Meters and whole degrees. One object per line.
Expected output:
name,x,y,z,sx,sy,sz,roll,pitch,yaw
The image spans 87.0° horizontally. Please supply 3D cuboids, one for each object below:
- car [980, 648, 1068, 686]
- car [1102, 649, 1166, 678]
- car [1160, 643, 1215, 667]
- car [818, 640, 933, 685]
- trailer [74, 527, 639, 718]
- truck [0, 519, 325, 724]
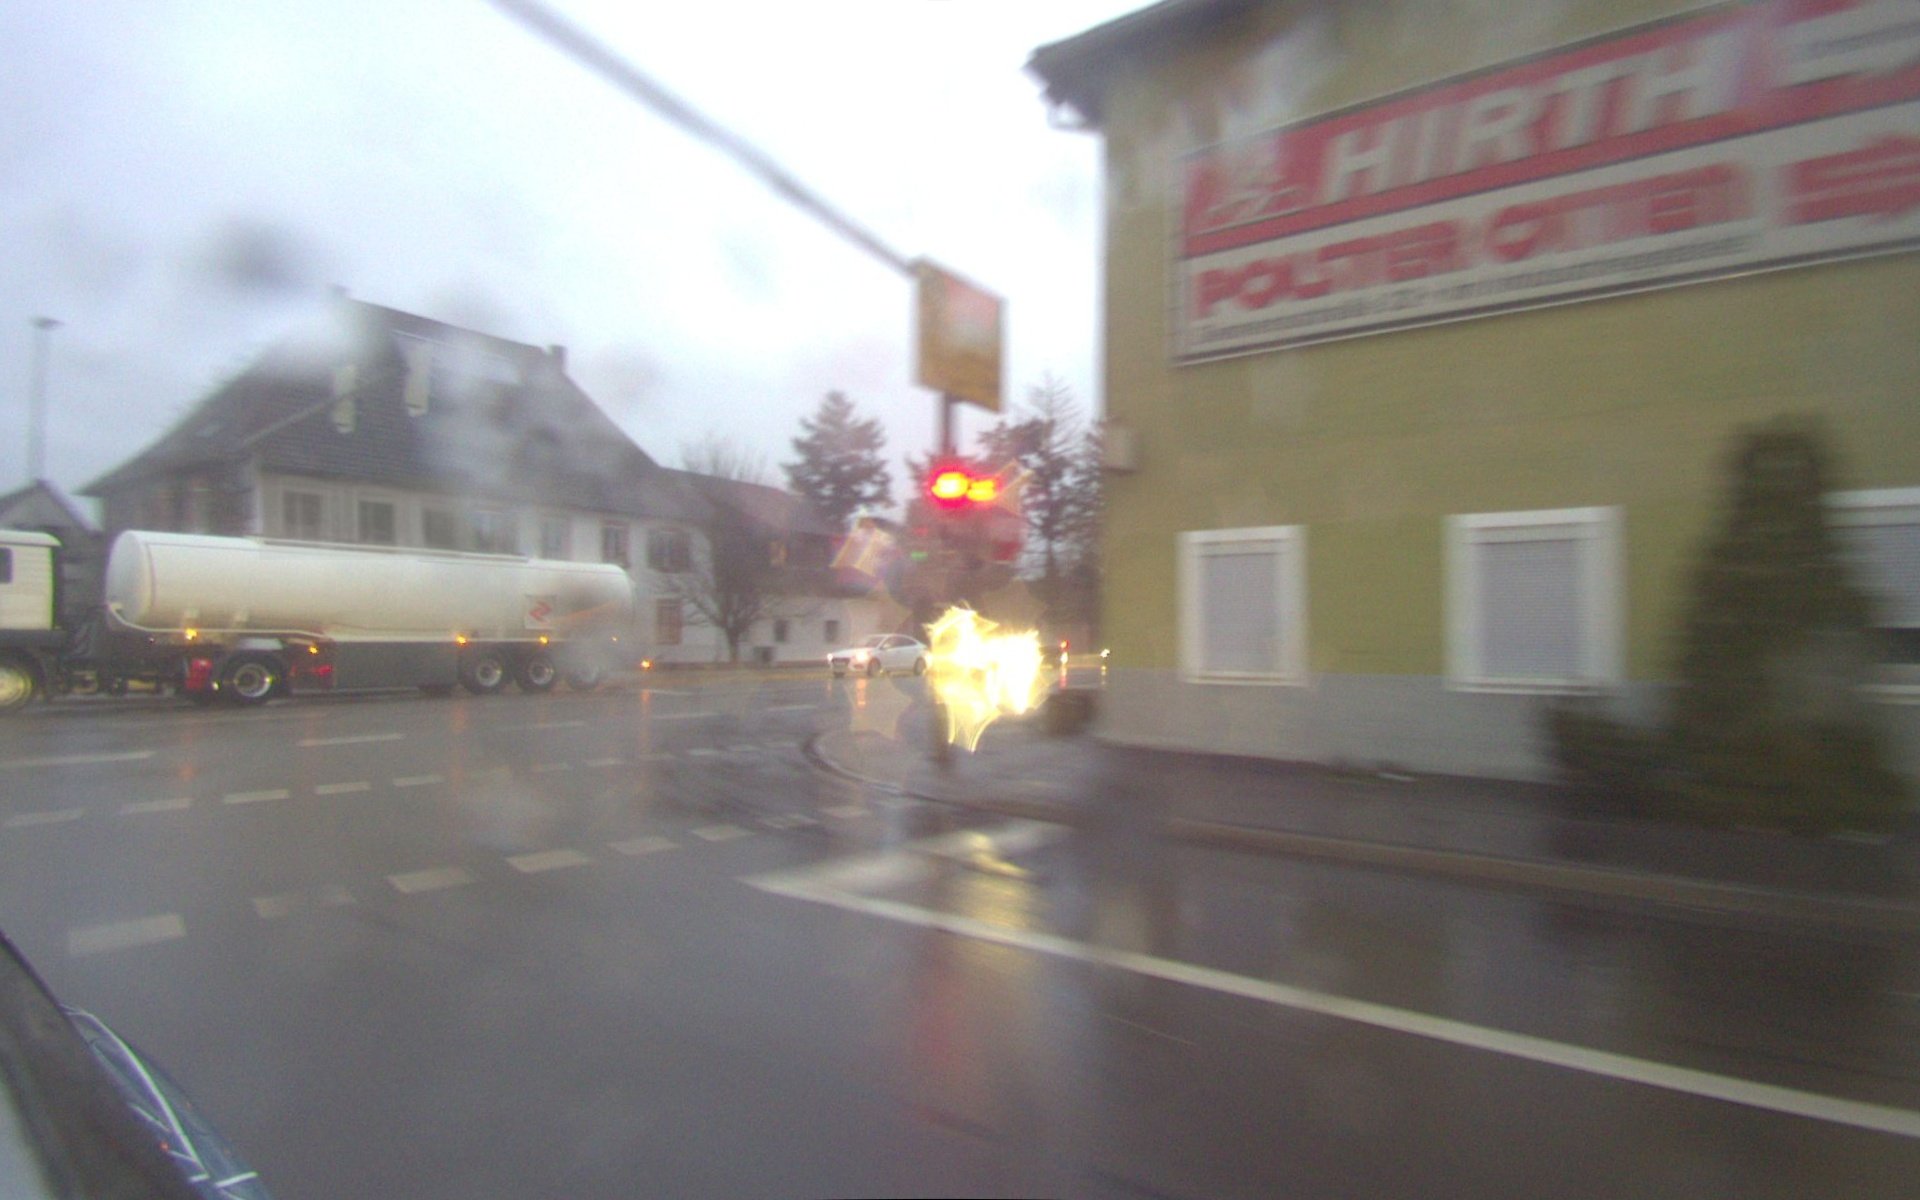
car,2.887,2.919,44.558,1.838,1.580,4.450,-3,-4,34
car,9.276,3.326,53.605,1.703,1.483,4.221,-3,-4,35
car,13.439,3.245,59.602,1.655,1.346,4.221,-2,-3,35
car,-2.894,2.148,35.354,1.663,1.450,4.330,-3,-4,34
trailer,-12.351,0.606,22.504,2.489,3.265,10.742,-2,-3,34
truck,-15.308,0.433,18.118,2.463,3.254,6.200,-2,-3,34
